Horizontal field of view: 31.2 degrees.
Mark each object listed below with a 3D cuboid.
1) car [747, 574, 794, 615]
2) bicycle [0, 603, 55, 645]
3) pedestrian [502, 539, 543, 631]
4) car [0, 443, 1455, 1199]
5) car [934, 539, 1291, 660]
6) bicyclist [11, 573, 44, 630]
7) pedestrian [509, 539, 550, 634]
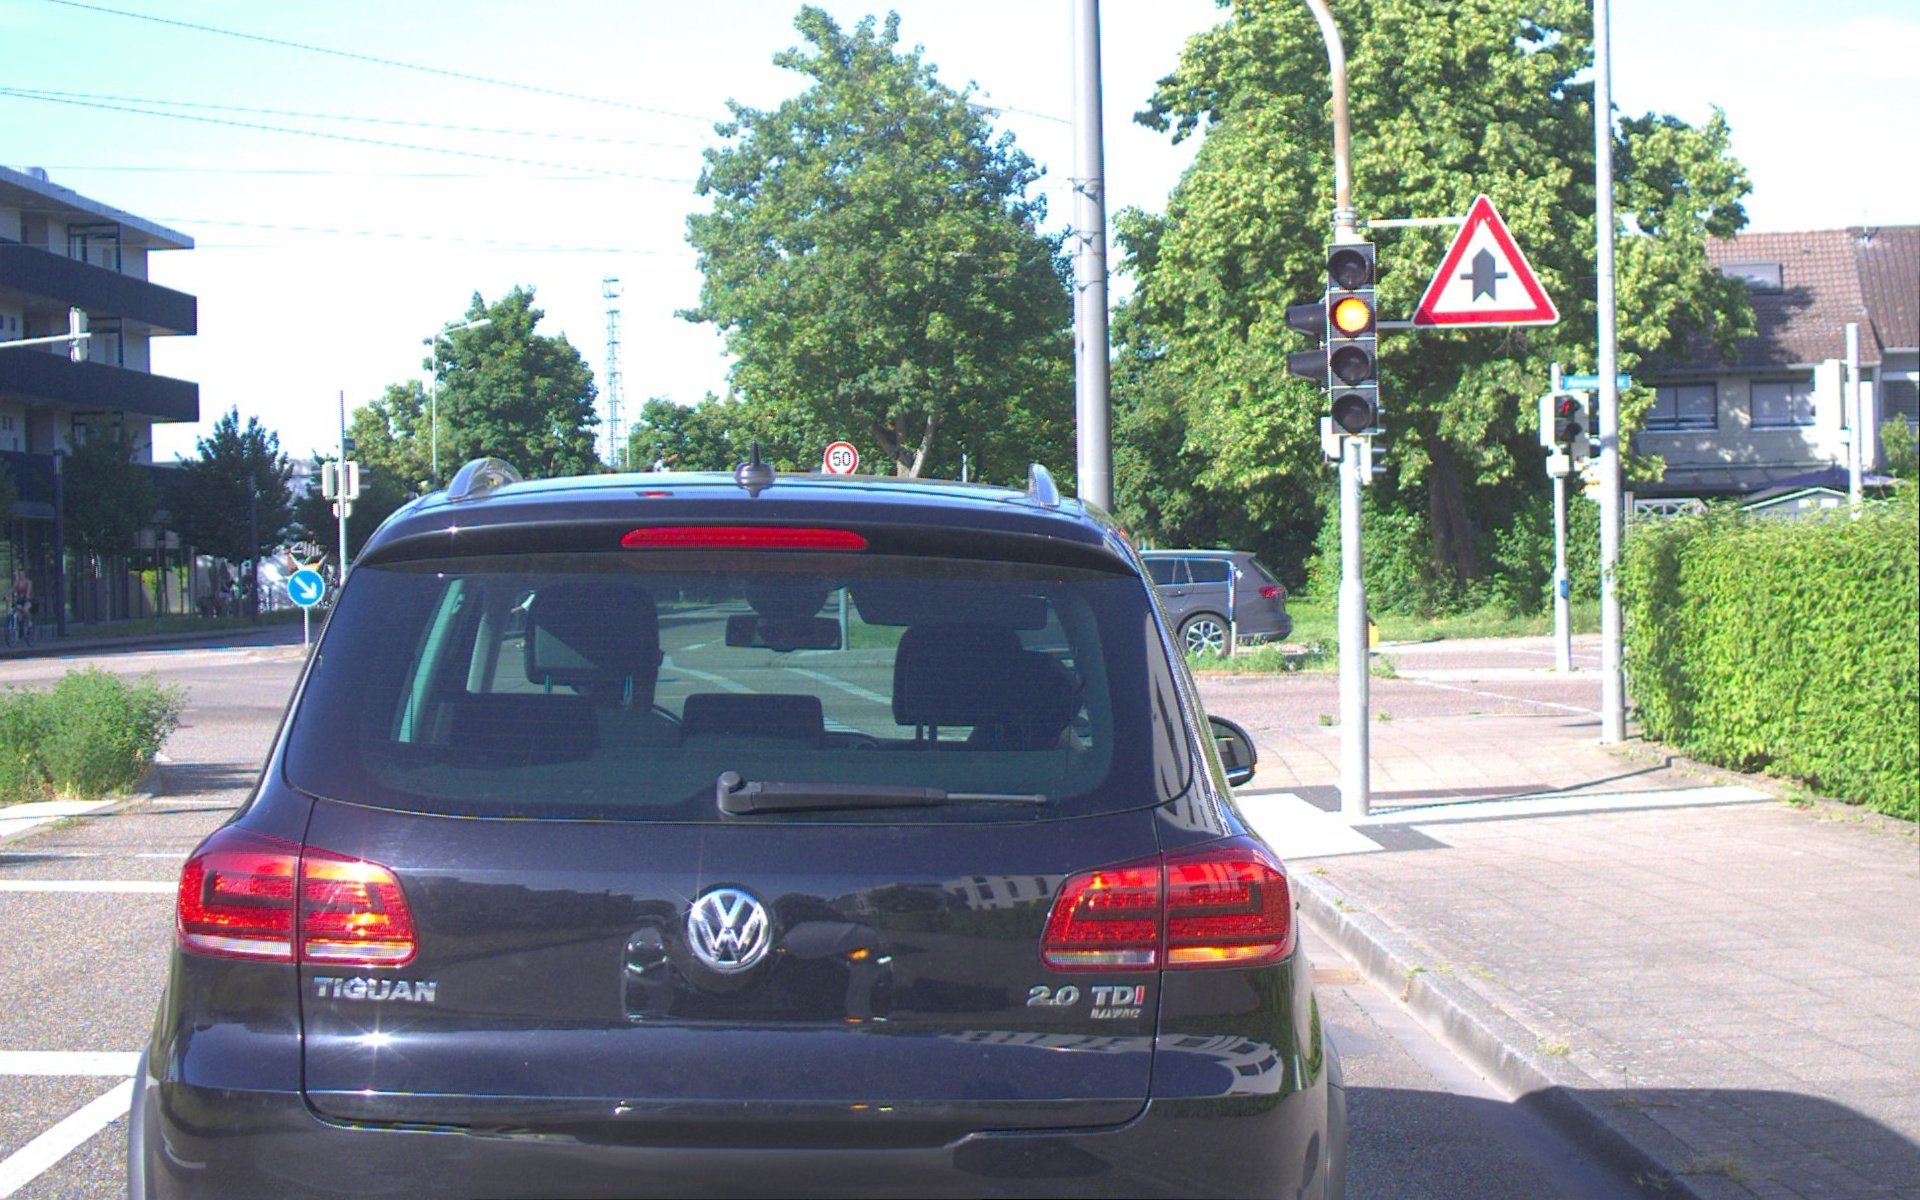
[{"bbox_3d":[-7.901,-0.226,143.757,1.656,1.634,4.000,0,1,1],"label":"car"},{"bbox_3d":[-20.013,0.501,73.834,0.496,0.845,2.078,0,1,3],"label":"bicycle"},{"bbox_3d":[-7.529,-0.261,59.159,0.603,1.559,0.529,0,1,4],"label":"pedestrian"},{"bbox_3d":[-0.376,0.585,6.469,1.905,1.637,4.000,0,1,-2],"label":"car"},{"bbox_3d":[1.981,-0.021,44.405,4.498,1.499,2.000,0,1,4],"label":"car"},{"bbox_3d":[-20.008,0.029,73.778,0.474,1.219,0.712,0,1,3],"label":"bicyclist"},{"bbox_3d":[-7.484,-0.242,59.753,0.603,1.634,0.529,0,1,4],"label":"pedestrian"}]
